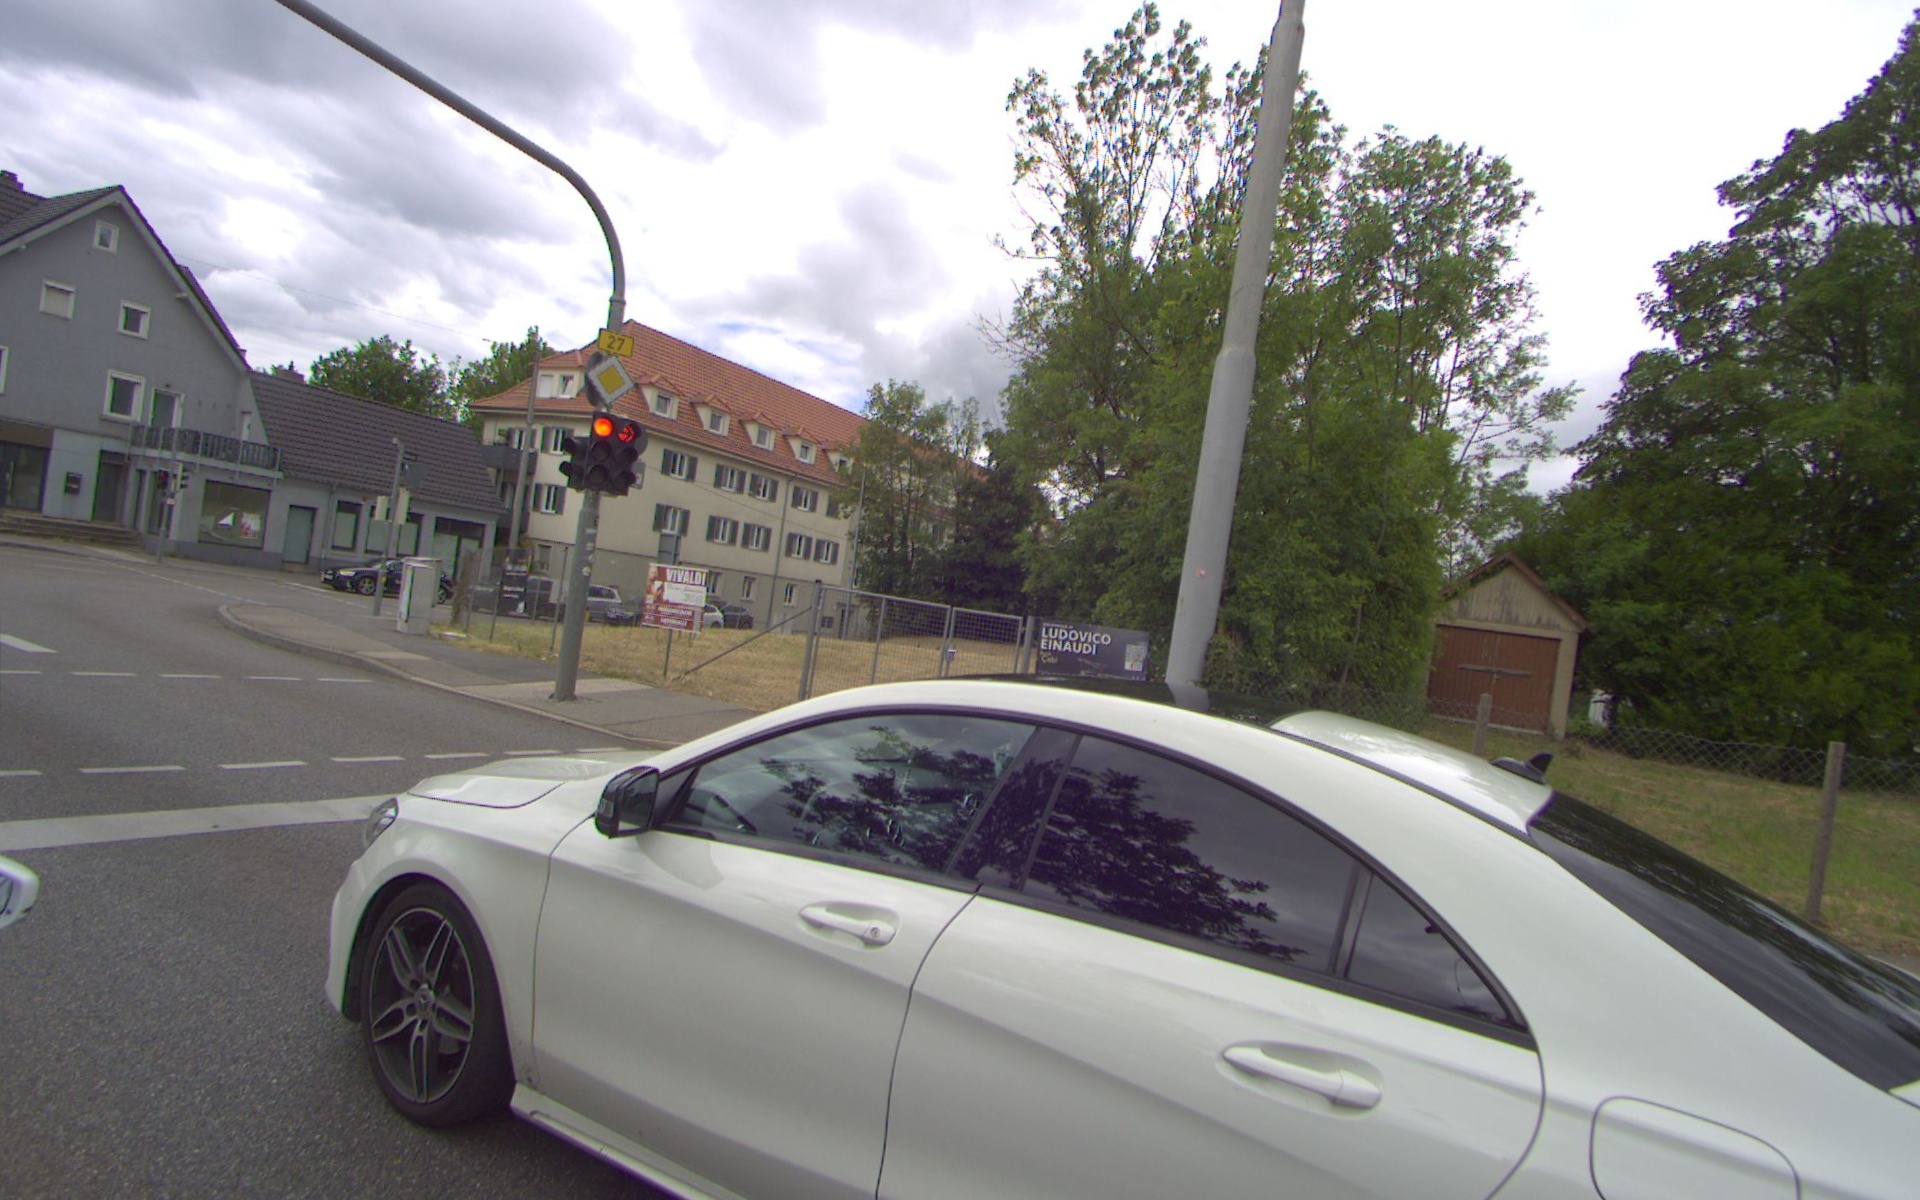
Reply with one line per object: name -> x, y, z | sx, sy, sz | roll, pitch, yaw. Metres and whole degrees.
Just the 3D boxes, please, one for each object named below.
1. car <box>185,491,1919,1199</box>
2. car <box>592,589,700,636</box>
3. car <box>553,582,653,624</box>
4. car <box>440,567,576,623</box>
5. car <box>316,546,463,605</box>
car -> 0.066, 0.790, 2.841 | 4.693, 1.522, 1.872 | 8, -2, 31
car -> -13.054, 0.540, 42.070 | 1.769, 1.386, 4.099 | 7, -3, 30
car -> -16.585, 0.168, 46.941 | 1.769, 1.386, 4.099 | 7, -3, 30
car -> -16.161, -0.134, 36.157 | 1.769, 1.386, 4.099 | 7, -3, 30
car -> -20.155, -0.826, 35.715 | 1.769, 1.386, 4.099 | 7, -3, 30
